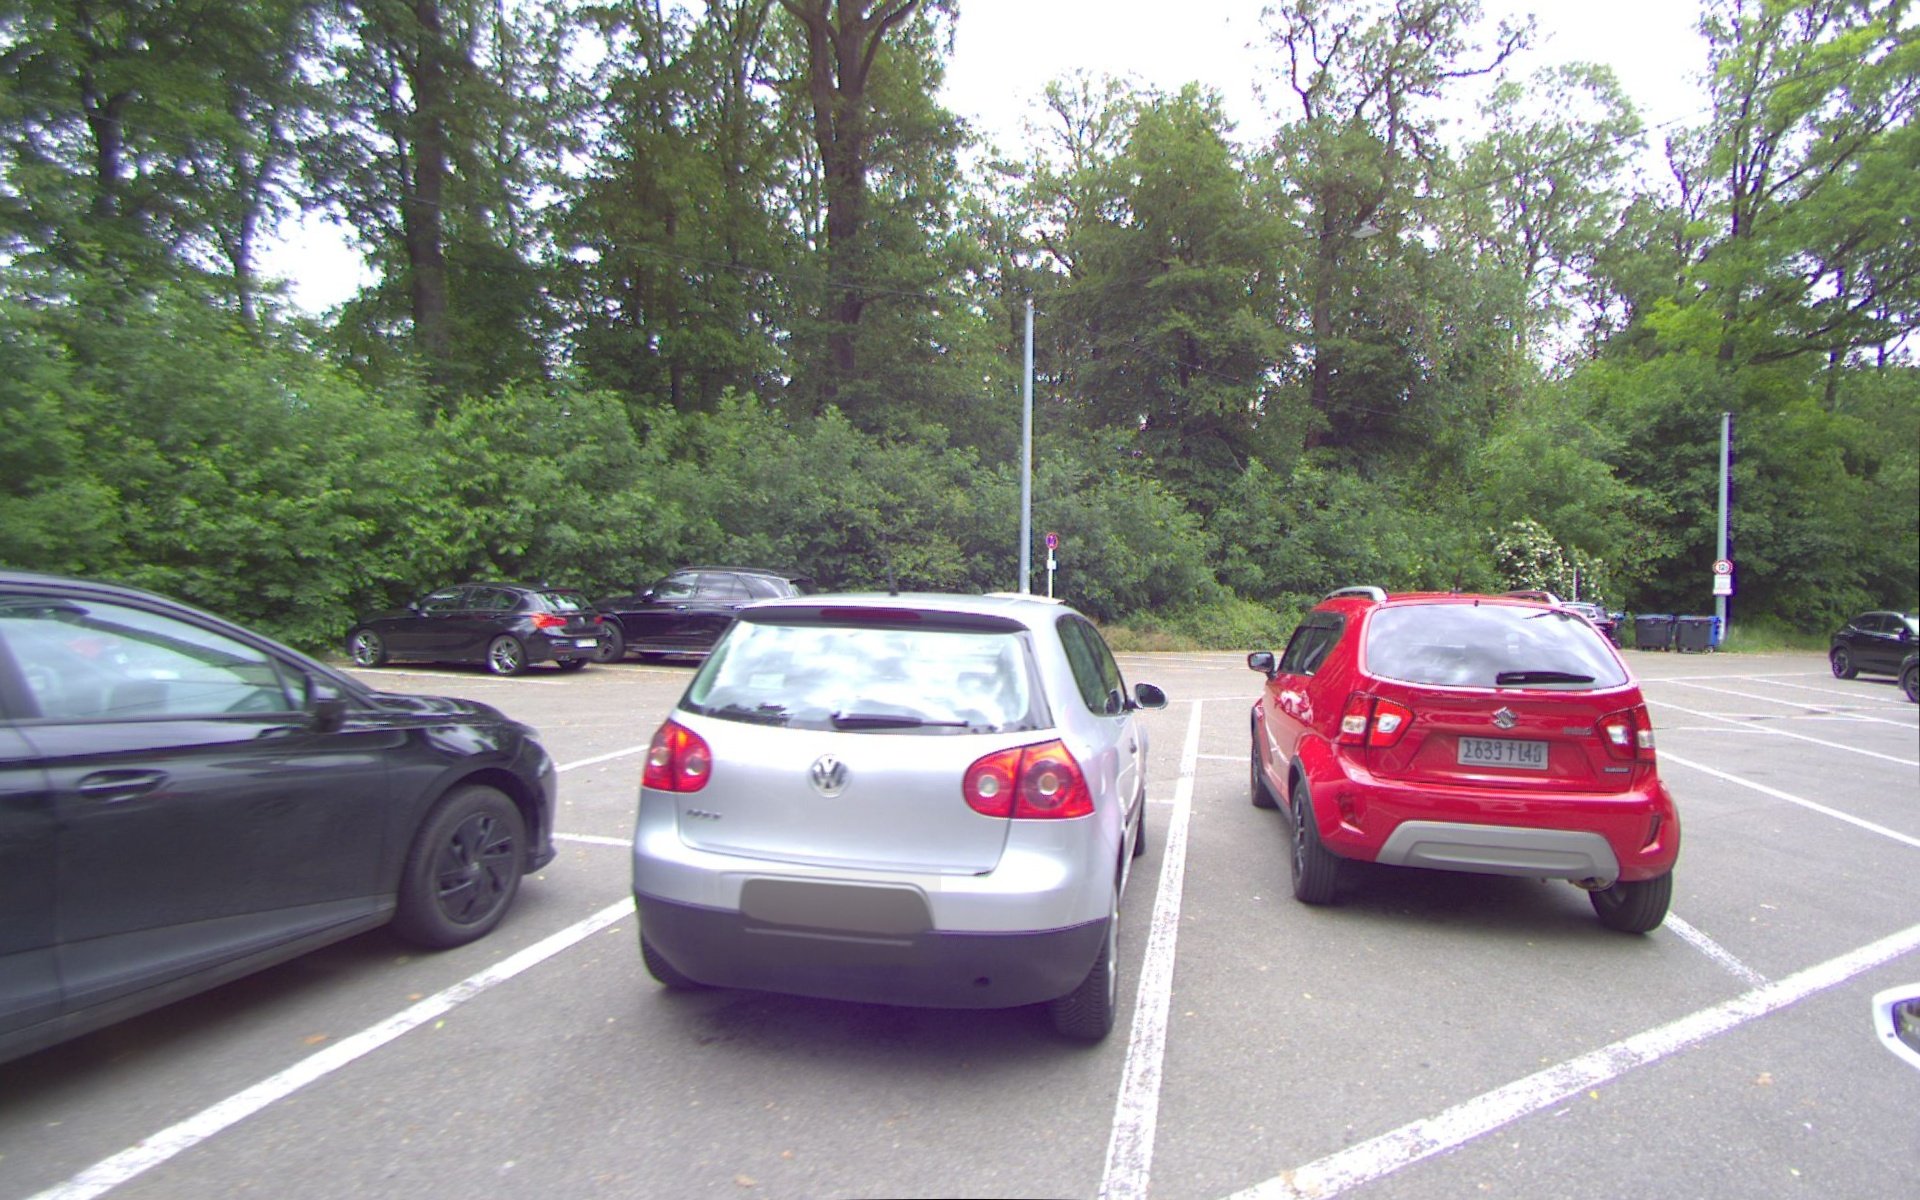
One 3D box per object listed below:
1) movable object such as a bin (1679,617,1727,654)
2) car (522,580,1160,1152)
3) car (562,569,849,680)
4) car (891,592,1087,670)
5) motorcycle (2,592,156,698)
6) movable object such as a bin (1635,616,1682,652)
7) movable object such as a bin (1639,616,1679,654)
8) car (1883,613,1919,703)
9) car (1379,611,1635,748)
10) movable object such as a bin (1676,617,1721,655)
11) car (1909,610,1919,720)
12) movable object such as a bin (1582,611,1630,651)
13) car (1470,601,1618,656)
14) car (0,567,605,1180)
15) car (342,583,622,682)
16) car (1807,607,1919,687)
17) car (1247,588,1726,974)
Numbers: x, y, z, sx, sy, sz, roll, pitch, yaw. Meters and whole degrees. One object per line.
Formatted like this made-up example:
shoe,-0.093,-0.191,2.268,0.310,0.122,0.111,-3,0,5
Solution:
movable object such as a bin,28.243,1.319,38.184,1.138,1.342,1.241,1,0,-43
car,-0.020,0.723,4.864,1.839,1.503,4.002,2,0,12
car,-4.582,0.386,18.329,4.614,1.790,2.113,1,0,15
car,0.661,0.630,21.926,3.919,1.531,1.870,1,0,15
motorcycle,-11.230,0.542,12.793,1.991,1.224,0.730,2,0,25
movable object such as a bin,26.903,1.286,38.667,1.227,1.337,1.116,1,0,-35
movable object such as a bin,25.737,1.277,37.010,1.107,1.332,1.182,1,0,30
car,17.723,1.049,16.474,1.835,1.575,4.002,1,0,8
car,7.070,0.914,13.527,1.831,1.461,4.319,1,0,12
movable object such as a bin,26.744,1.292,36.399,1.152,1.325,1.311,1,0,30
car,14.729,0.981,12.862,1.809,1.618,4.192,1,0,12
movable object such as a bin,24.470,1.167,38.051,1.116,1.444,1.119,1,0,-27
car,19.809,0.925,34.260,3.990,1.707,1.881,2,0,16
car,-3.165,0.666,3.082,1.794,1.543,4.101,2,0,17
car,-7.760,0.478,16.382,3.919,1.394,1.740,2,0,15
car,21.769,1.035,23.075,1.860,1.685,4.002,2,0,13
car,2.788,0.770,6.216,1.652,1.606,3.656,1,0,12
